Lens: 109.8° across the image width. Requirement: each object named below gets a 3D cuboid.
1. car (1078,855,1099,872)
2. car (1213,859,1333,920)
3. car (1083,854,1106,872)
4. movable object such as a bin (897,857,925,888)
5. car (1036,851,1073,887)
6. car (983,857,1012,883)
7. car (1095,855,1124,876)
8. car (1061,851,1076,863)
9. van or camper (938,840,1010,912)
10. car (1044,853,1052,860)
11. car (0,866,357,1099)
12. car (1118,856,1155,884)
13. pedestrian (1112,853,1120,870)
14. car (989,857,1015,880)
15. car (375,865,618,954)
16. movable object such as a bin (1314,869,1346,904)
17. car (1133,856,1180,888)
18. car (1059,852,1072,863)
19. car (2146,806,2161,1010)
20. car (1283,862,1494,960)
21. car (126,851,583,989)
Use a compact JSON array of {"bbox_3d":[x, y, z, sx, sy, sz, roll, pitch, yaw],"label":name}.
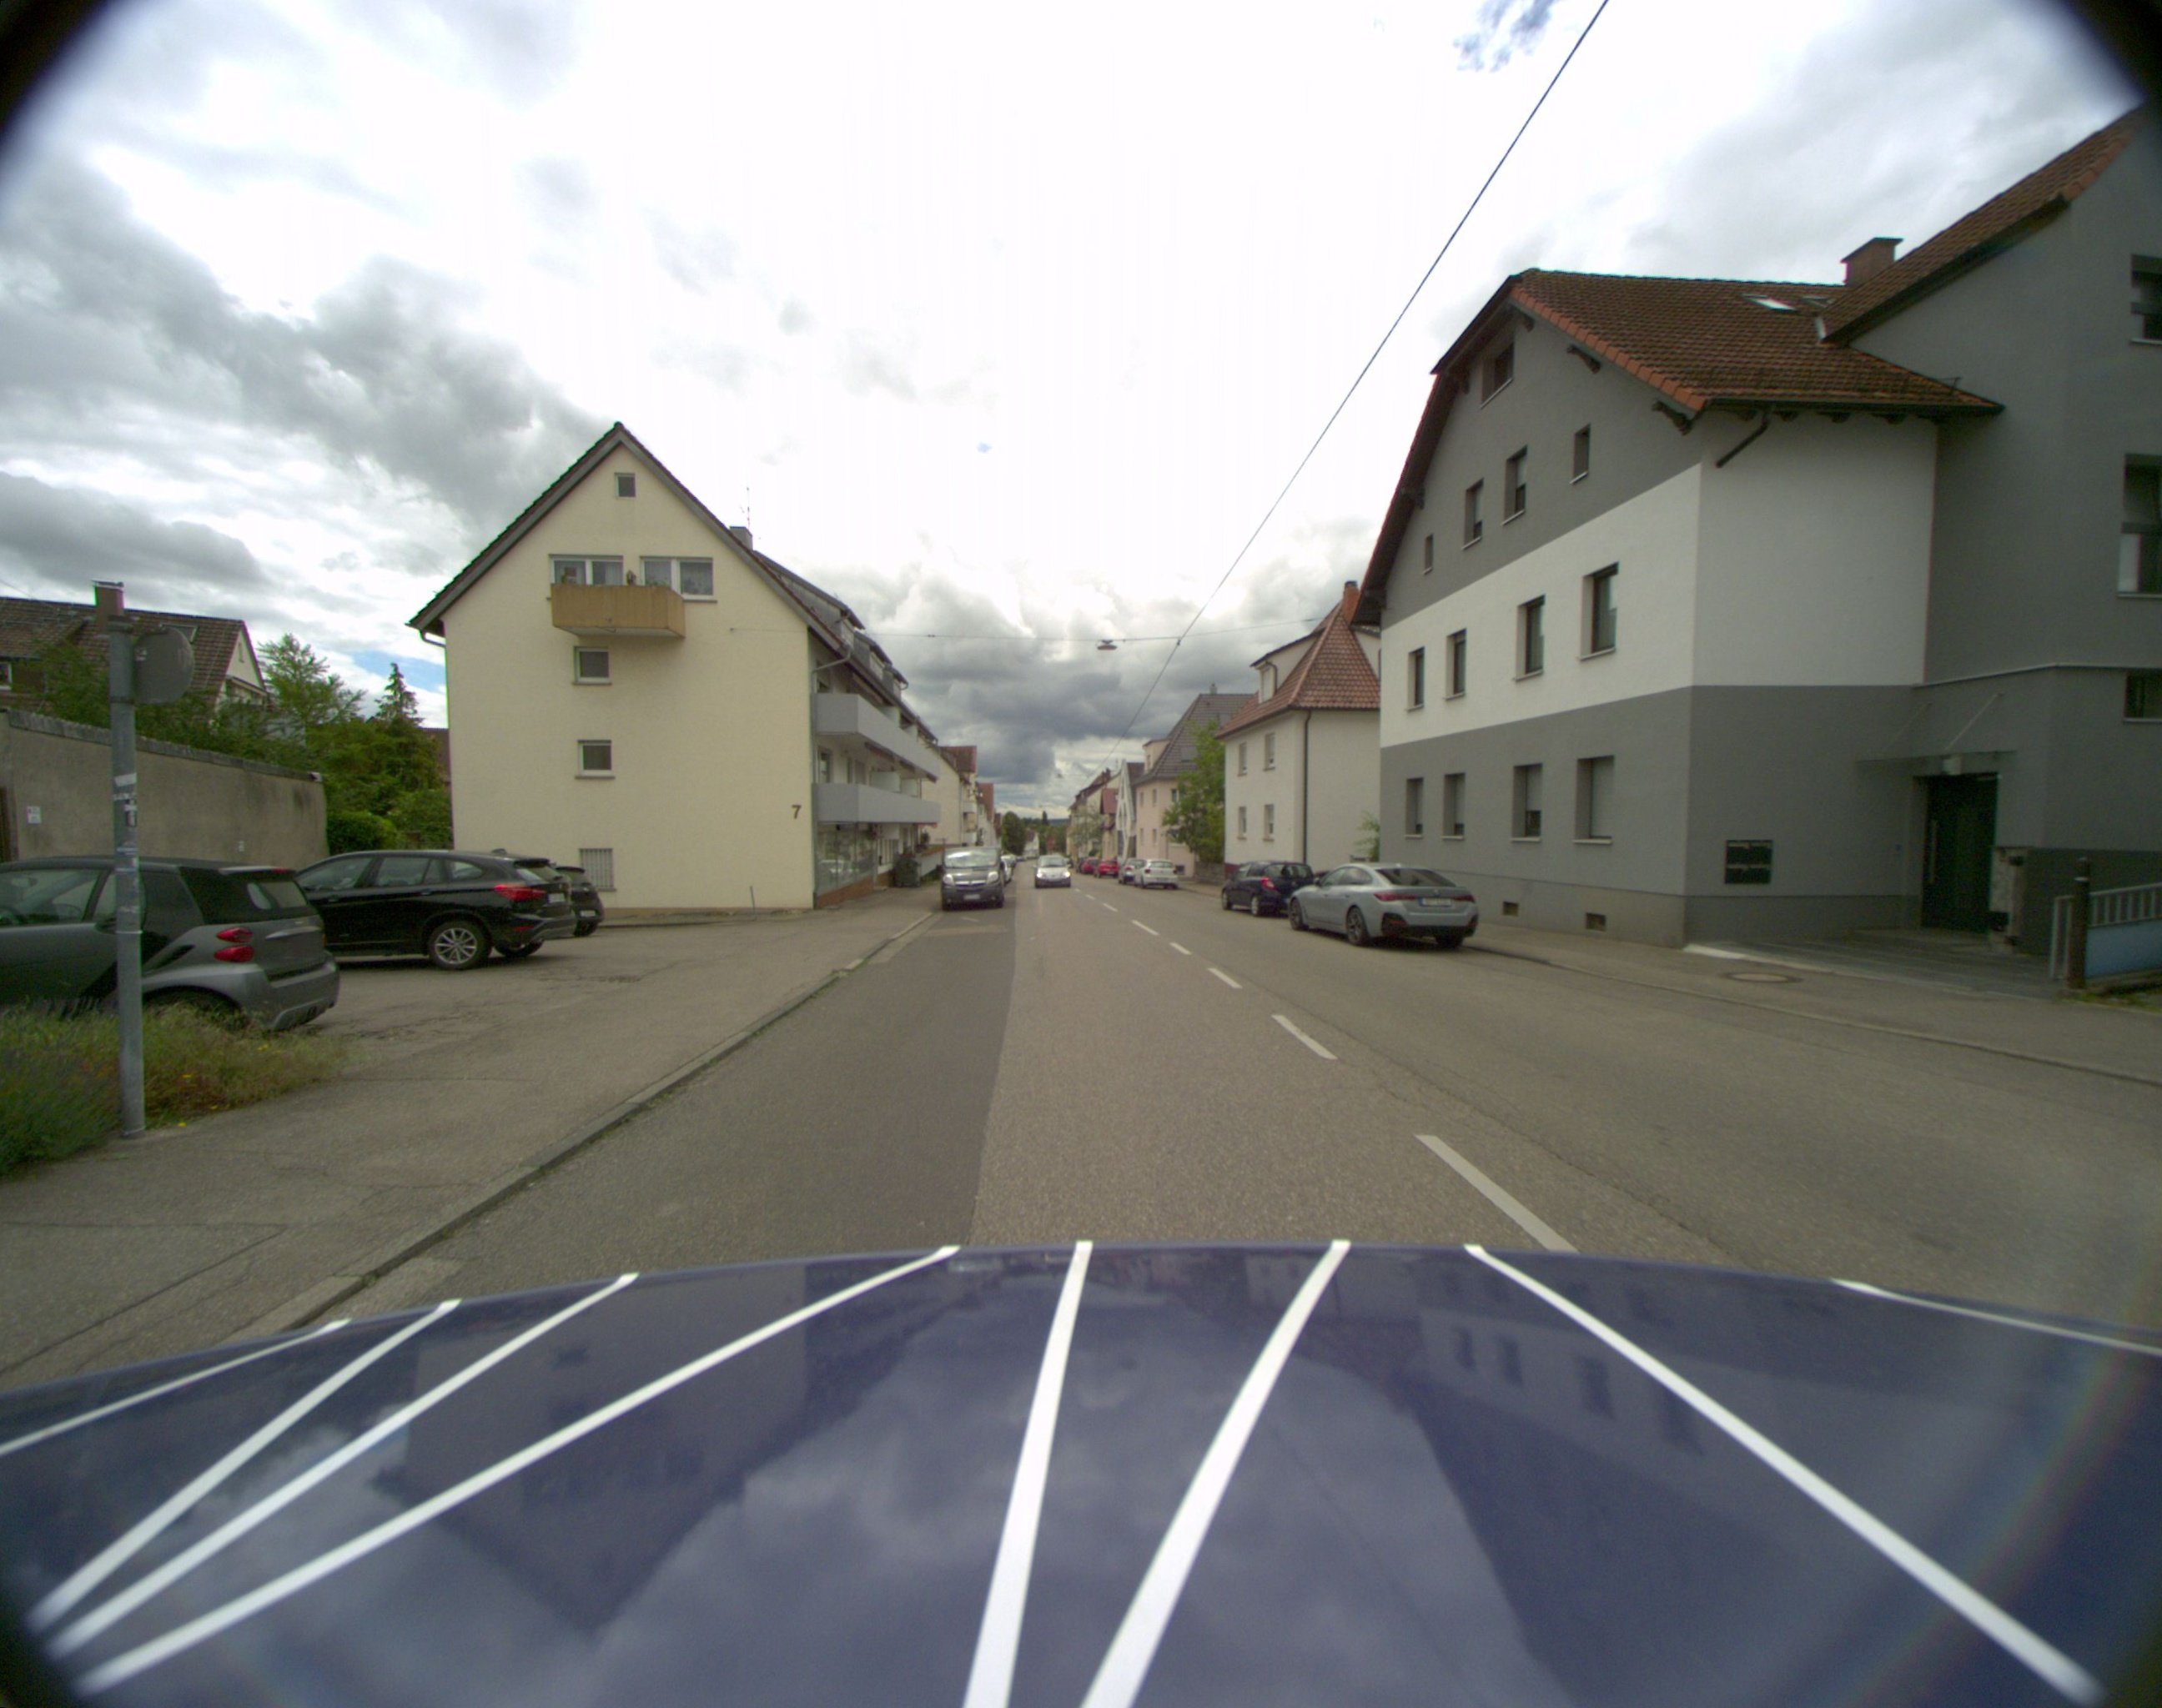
[{"bbox_3d":[0.721,0.909,74.336,1.707,1.524,3.734,2,0,-5],"label":"car"},{"bbox_3d":[5.110,0.899,20.834,1.843,1.437,3.997,1,0,-7],"label":"car"},{"bbox_3d":[1.228,0.807,69.381,1.707,1.524,3.734,2,0,-5],"label":"car"},{"bbox_3d":[-8.238,0.867,36.837,1.083,1.428,1.259,-2,1,-4],"label":"movable object such as a bin"},{"bbox_3d":[-1.296,0.708,38.247,1.721,1.587,3.999,-2,1,-1],"label":"car"},{"bbox_3d":[-4.999,0.939,45.696,1.614,1.447,3.312,-2,1,-5],"label":"car"},{"bbox_3d":[2.159,0.845,57.951,1.707,1.402,3.734,2,0,-5],"label":"car"},{"bbox_3d":[-1.779,0.448,106.413,1.707,1.524,3.734,2,0,-5],"label":"car"},{"bbox_3d":[-3.397,0.642,24.948,1.999,2.002,5.061,-3,0,-5],"label":"van or camper"},{"bbox_3d":[-8.081,0.556,186.014,1.707,1.524,3.734,2,0,-5],"label":"car"},{"bbox_3d":[-7.915,0.860,5.615,3.327,1.510,1.700,0,0,-24],"label":"car"},{"bbox_3d":[3.033,0.845,42.338,1.654,1.438,3.773,1,0,-2],"label":"car"},{"bbox_3d":[3.181,0.647,68.739,0.583,1.524,0.600,-2,1,-4],"label":"pedestrian"},{"bbox_3d":[-5.135,0.921,49.893,1.585,1.397,3.596,-2,1,-5],"label":"car"},{"bbox_3d":[-11.378,1.039,14.997,3.323,1.478,1.725,-3,0,-5],"label":"car"},{"bbox_3d":[7.851,1.031,23.998,0.679,1.039,0.758,-2,1,-4],"label":"movable object such as a bin"},{"bbox_3d":[3.645,0.865,37.317,1.654,1.438,3.809,1,0,-4],"label":"car"},{"bbox_3d":[-2.310,0.461,112.086,1.707,1.524,3.734,2,0,-5],"label":"car"},{"bbox_3d":[11.809,0.510,6.036,3.998,1.845,1.999,0,1,-2],"label":"car"},{"bbox_3d":[5.446,0.931,14.203,1.843,1.437,4.465,2,0,-4],"label":"car"},{"bbox_3d":[-9.546,0.805,10.418,4.127,1.644,1.902,0,0,-13],"label":"car"}]
